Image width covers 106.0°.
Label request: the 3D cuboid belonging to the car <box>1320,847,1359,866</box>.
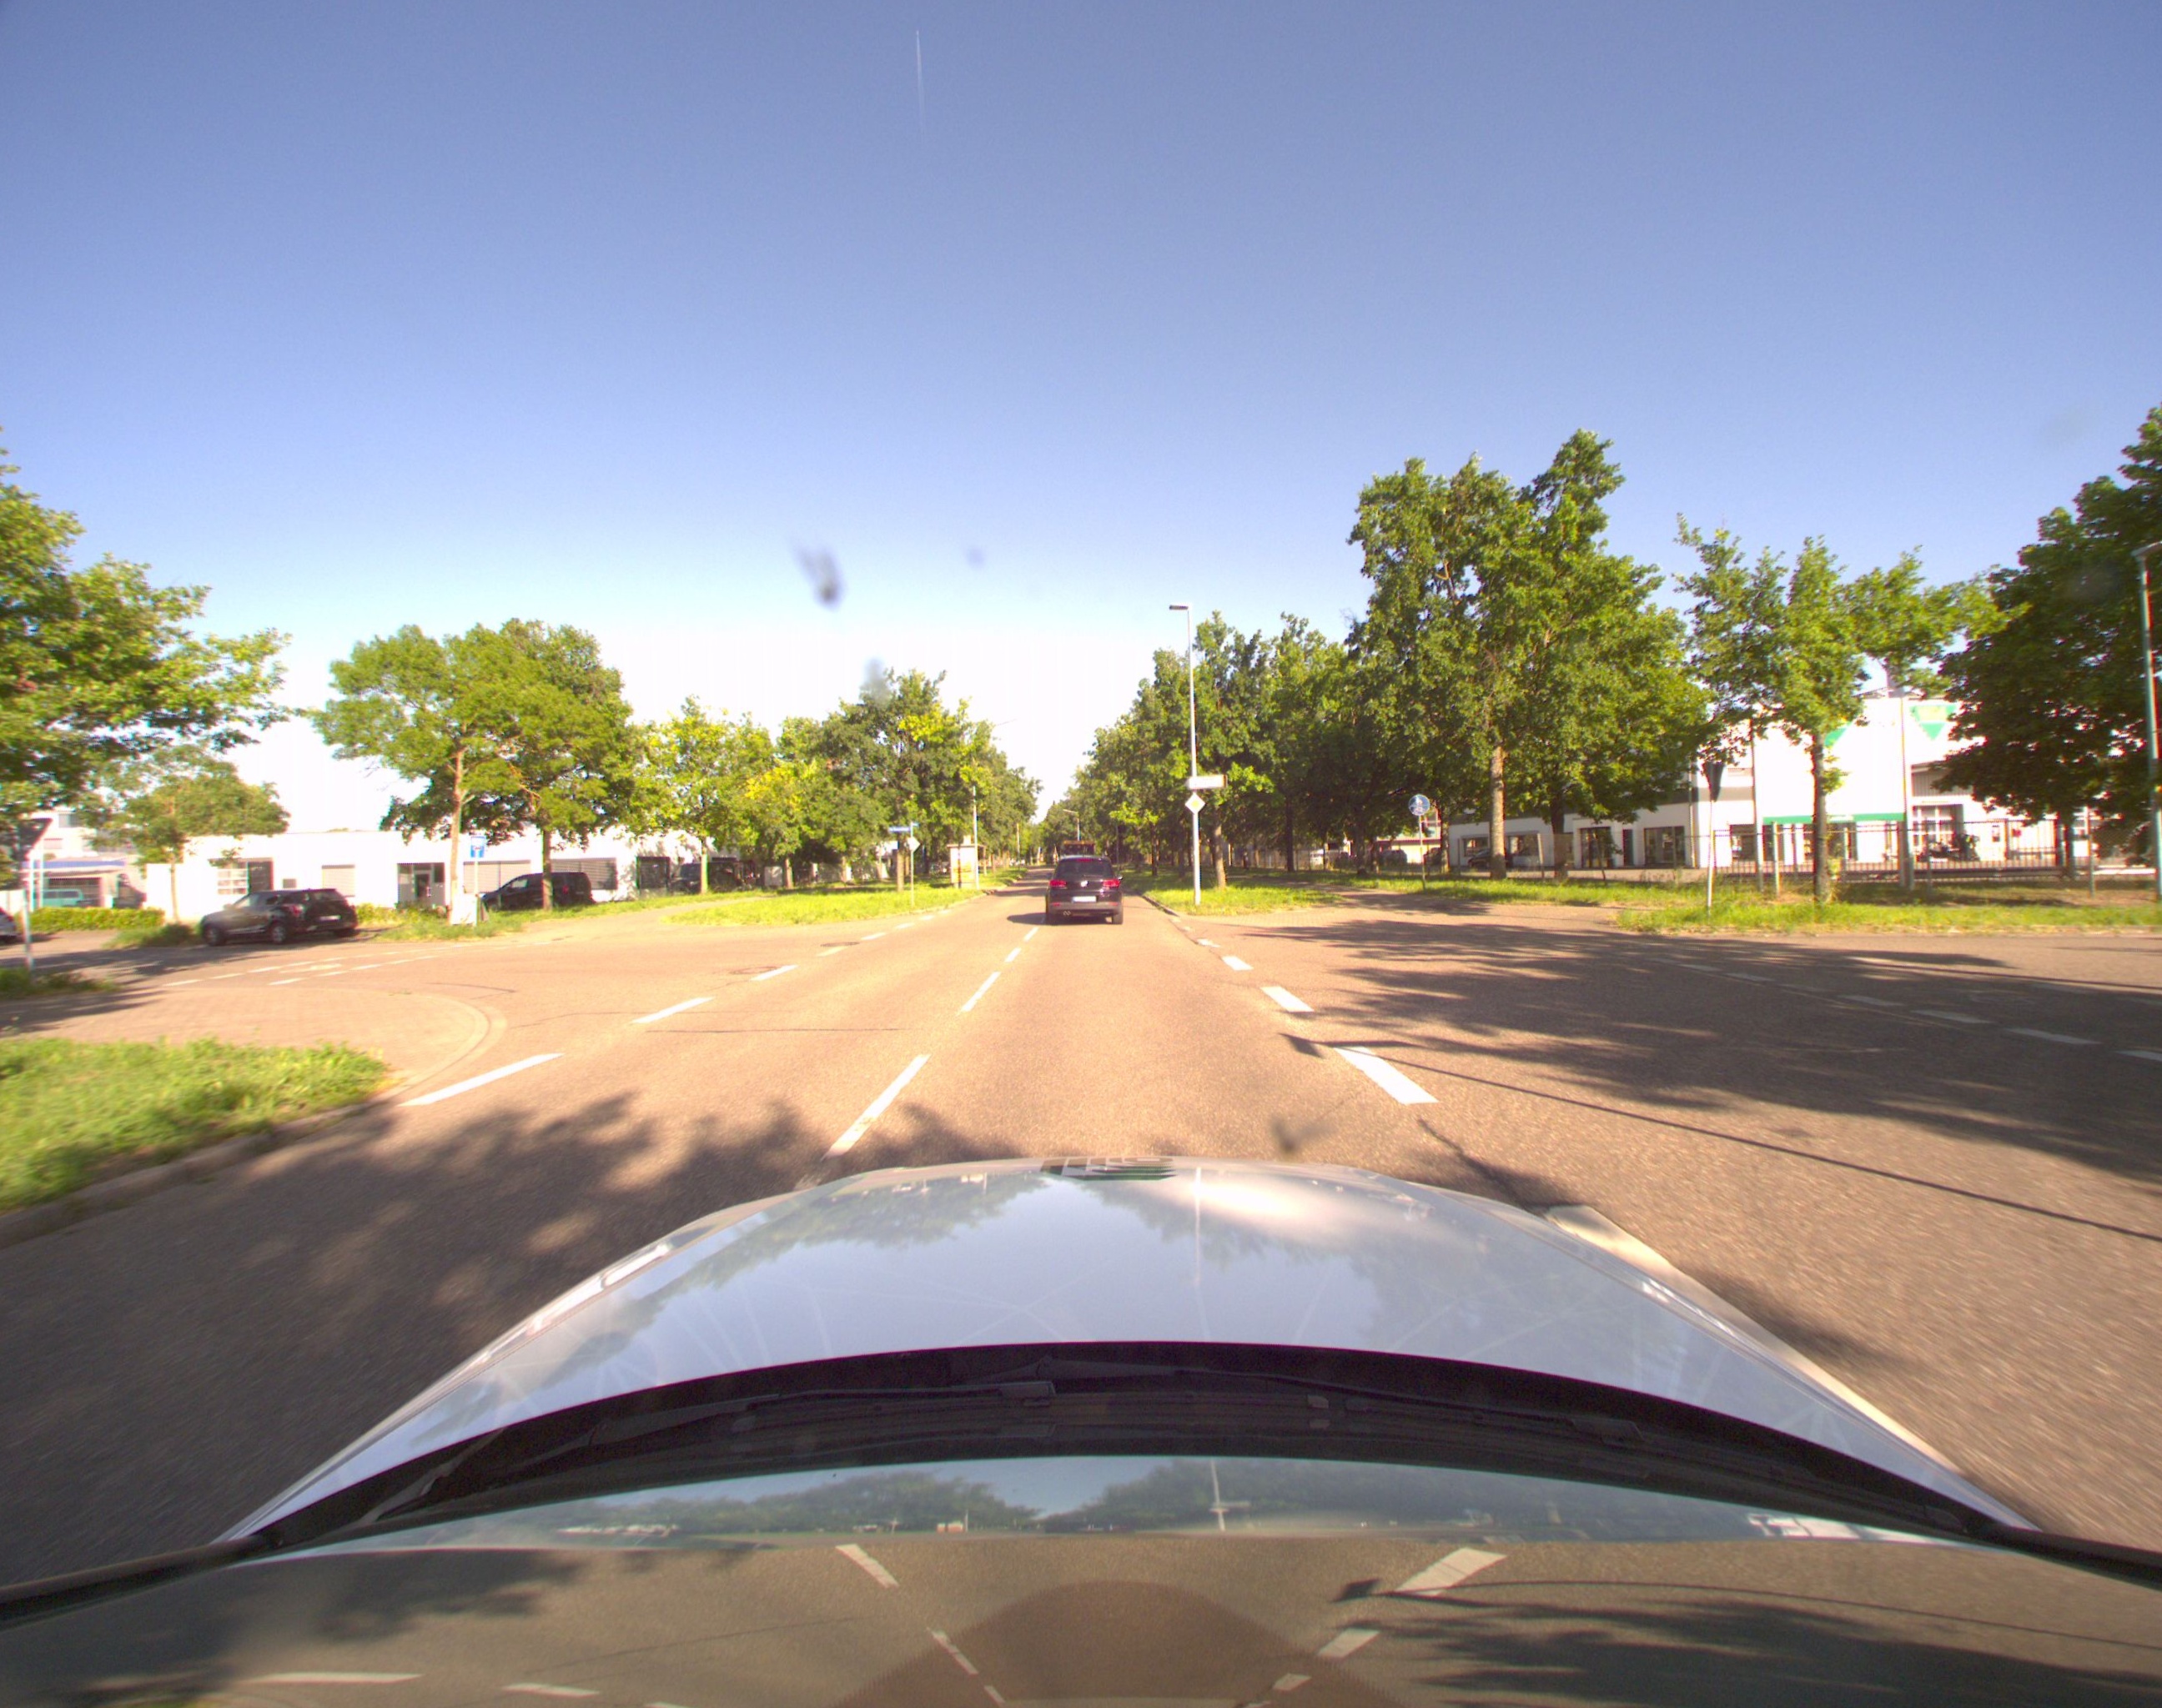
[{"bbox_3d":[25.310,0.286,79.985,2.179,1.744,4.637,-2,0,-3],"label":"car"}]

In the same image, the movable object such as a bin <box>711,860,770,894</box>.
[{"bbox_3d":[-23.793,1.557,57.092,2.095,2.217,4.460,-2,0,1],"label":"movable object such as a bin"}]

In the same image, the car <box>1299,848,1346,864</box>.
[{"bbox_3d":[27.720,0.221,93.572,4.623,1.744,2.186,-2,0,-8],"label":"car"}]

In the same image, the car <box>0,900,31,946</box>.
[{"bbox_3d":[-39.813,2.489,29.043,3.952,1.576,1.811,-1,0,21],"label":"car"}]

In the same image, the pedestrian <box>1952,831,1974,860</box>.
[{"bbox_3d":[44.571,-0.423,41.153,0.754,1.433,0.711,-1,-1,-43],"label":"pedestrian"}]

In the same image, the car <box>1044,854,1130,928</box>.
[{"bbox_3d":[0.086,0.829,20.461,1.930,1.656,4.424,0,0,-1],"label":"car"}]

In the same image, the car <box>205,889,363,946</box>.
[{"bbox_3d":[-24.274,1.928,24.843,3.641,1.533,1.830,-2,-1,16],"label":"car"}]

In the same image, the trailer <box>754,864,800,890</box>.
[{"bbox_3d":[-23.933,1.785,64.223,2.095,1.914,3.741,-2,0,1],"label":"trailer"}]

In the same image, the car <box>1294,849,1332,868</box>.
[{"bbox_3d":[22.732,0.400,79.924,2.179,1.744,4.637,-2,0,-3],"label":"car"}]

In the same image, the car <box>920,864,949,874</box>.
[{"bbox_3d":[-23.618,2.423,131.177,4.180,1.321,1.943,-2,0,3],"label":"car"}]

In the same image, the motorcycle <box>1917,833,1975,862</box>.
[{"bbox_3d":[44.457,-0.326,41.878,1.970,1.433,0.660,-2,-1,14],"label":"motorcycle"}]

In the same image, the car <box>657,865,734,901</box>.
[{"bbox_3d":[-23.897,1.758,50.815,2.029,1.988,5.804,-2,-1,-1],"label":"car"}]

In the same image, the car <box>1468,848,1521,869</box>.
[{"bbox_3d":[29.598,0.318,58.445,1.761,1.384,3.763,-2,0,-3],"label":"car"}]

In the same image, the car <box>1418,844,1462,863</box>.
[{"bbox_3d":[35.539,-0.044,80.741,2.179,1.744,4.637,-2,0,-3],"label":"car"}]

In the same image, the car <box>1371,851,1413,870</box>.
[{"bbox_3d":[30.678,0.627,80.532,2.179,1.744,4.637,-2,0,-3],"label":"car"}]

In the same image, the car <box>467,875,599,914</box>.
[{"bbox_3d":[-23.590,1.719,35.163,4.477,1.479,1.945,-2,-1,6],"label":"car"}]

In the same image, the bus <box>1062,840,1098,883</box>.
[{"bbox_3d":[-0.134,0.647,71.582,2.756,3.456,11.206,-2,0,-1],"label":"bus"}]
